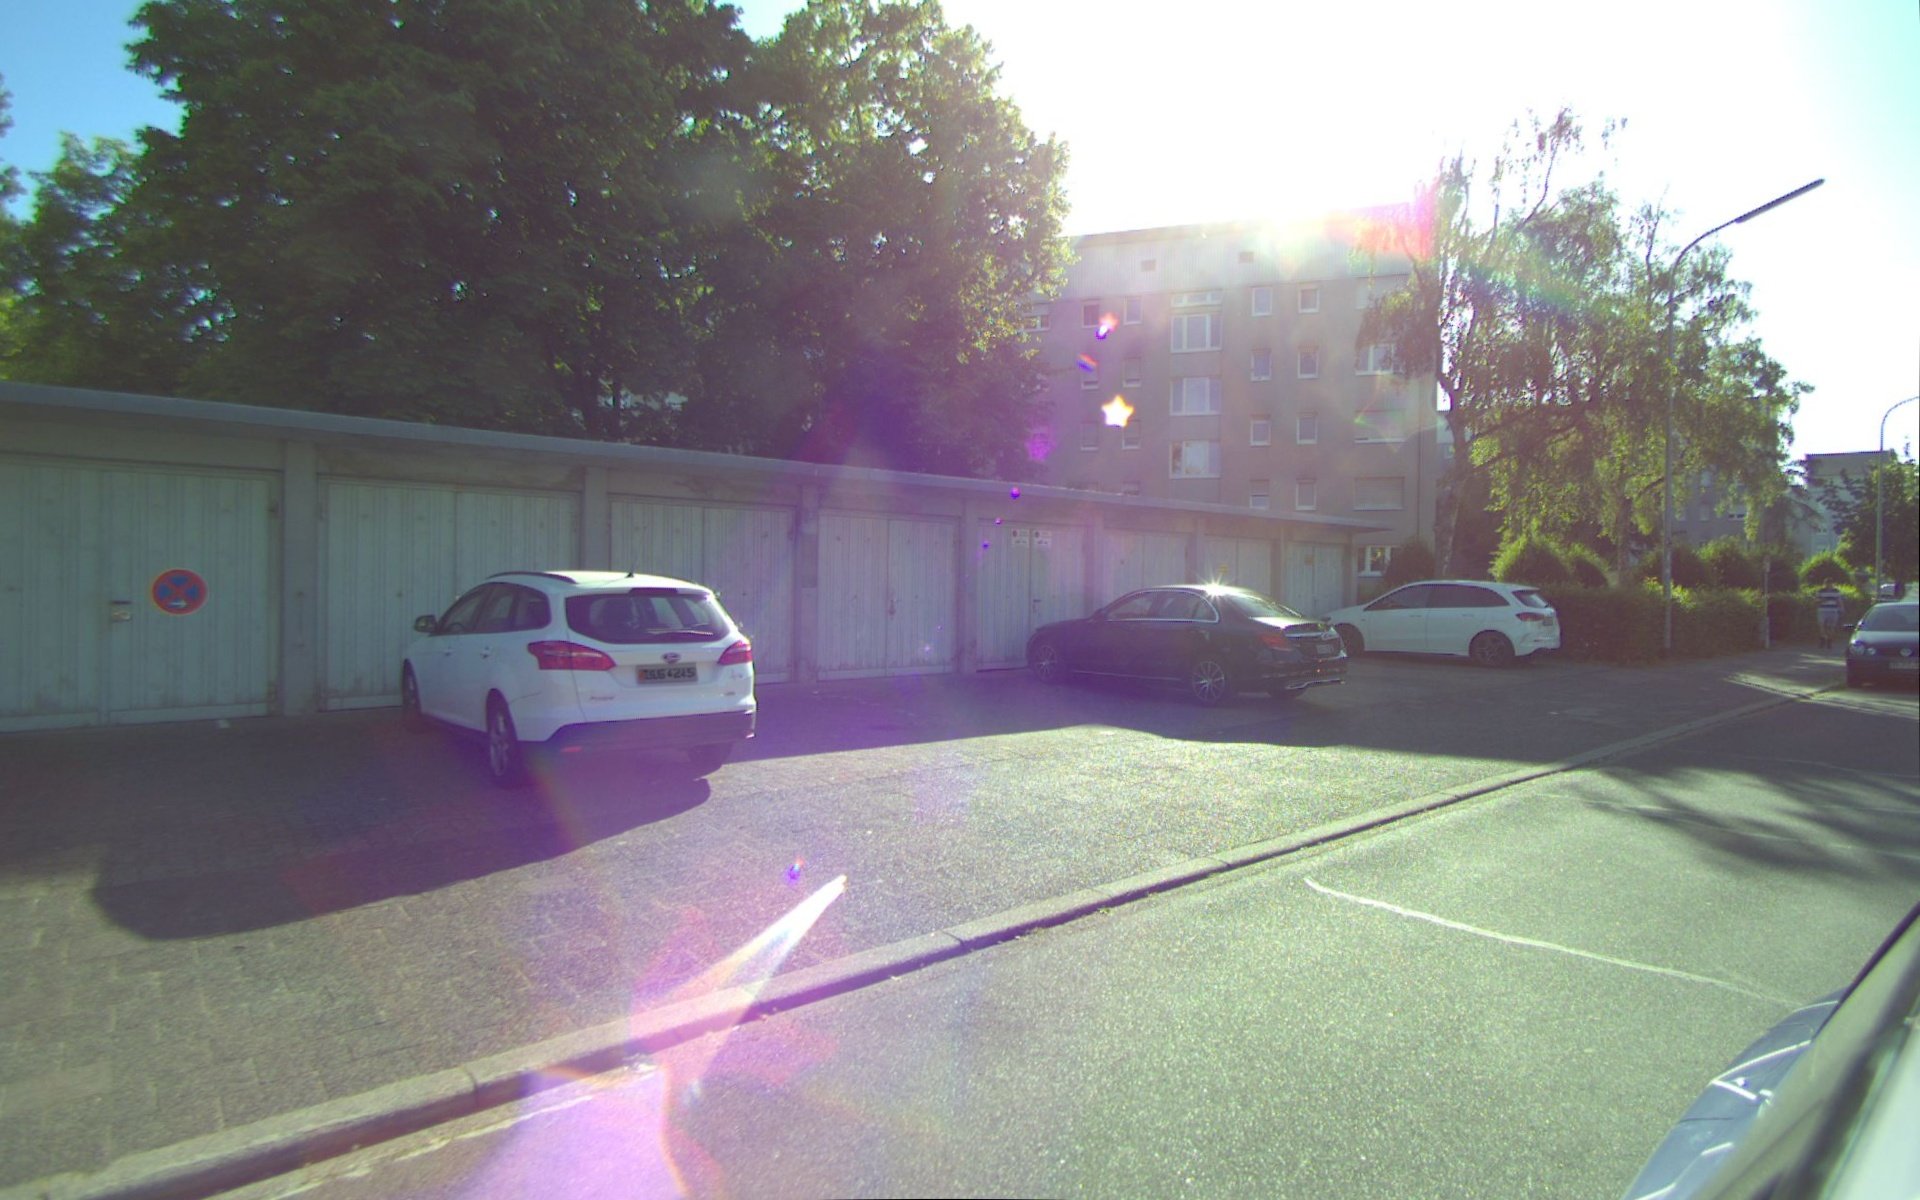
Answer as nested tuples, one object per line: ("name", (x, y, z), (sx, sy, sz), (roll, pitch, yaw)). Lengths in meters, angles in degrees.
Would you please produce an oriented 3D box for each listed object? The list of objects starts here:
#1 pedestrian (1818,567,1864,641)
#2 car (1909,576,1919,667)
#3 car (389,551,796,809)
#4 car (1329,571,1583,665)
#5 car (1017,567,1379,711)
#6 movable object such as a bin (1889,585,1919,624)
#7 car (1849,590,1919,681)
("pedestrian", (23.540, 0.095, 27.042), (0.857, 1.911, 0.705), (0, 3, -39))
("car", (19.858, 0.397, 19.880), (2.538, 1.740, 1.491), (-1, 0, -41))
("car", (-3.239, 0.393, 8.279), (1.796, 1.532, 4.426), (0, 2, -39))
("car", (9.329, 0.256, 19.241), (1.798, 1.532, 3.948), (0, 2, -42))
("car", (2.926, 0.364, 13.369), (1.795, 1.532, 4.525), (0, 2, -38))
("movable object such as a bin", (33.841, 0.157, 35.798), (1.359, 1.325, 1.031), (0, 4, -30))
("car", (16.581, 0.549, 17.264), (3.829, 1.421, 1.733), (-1, 0, -43))
